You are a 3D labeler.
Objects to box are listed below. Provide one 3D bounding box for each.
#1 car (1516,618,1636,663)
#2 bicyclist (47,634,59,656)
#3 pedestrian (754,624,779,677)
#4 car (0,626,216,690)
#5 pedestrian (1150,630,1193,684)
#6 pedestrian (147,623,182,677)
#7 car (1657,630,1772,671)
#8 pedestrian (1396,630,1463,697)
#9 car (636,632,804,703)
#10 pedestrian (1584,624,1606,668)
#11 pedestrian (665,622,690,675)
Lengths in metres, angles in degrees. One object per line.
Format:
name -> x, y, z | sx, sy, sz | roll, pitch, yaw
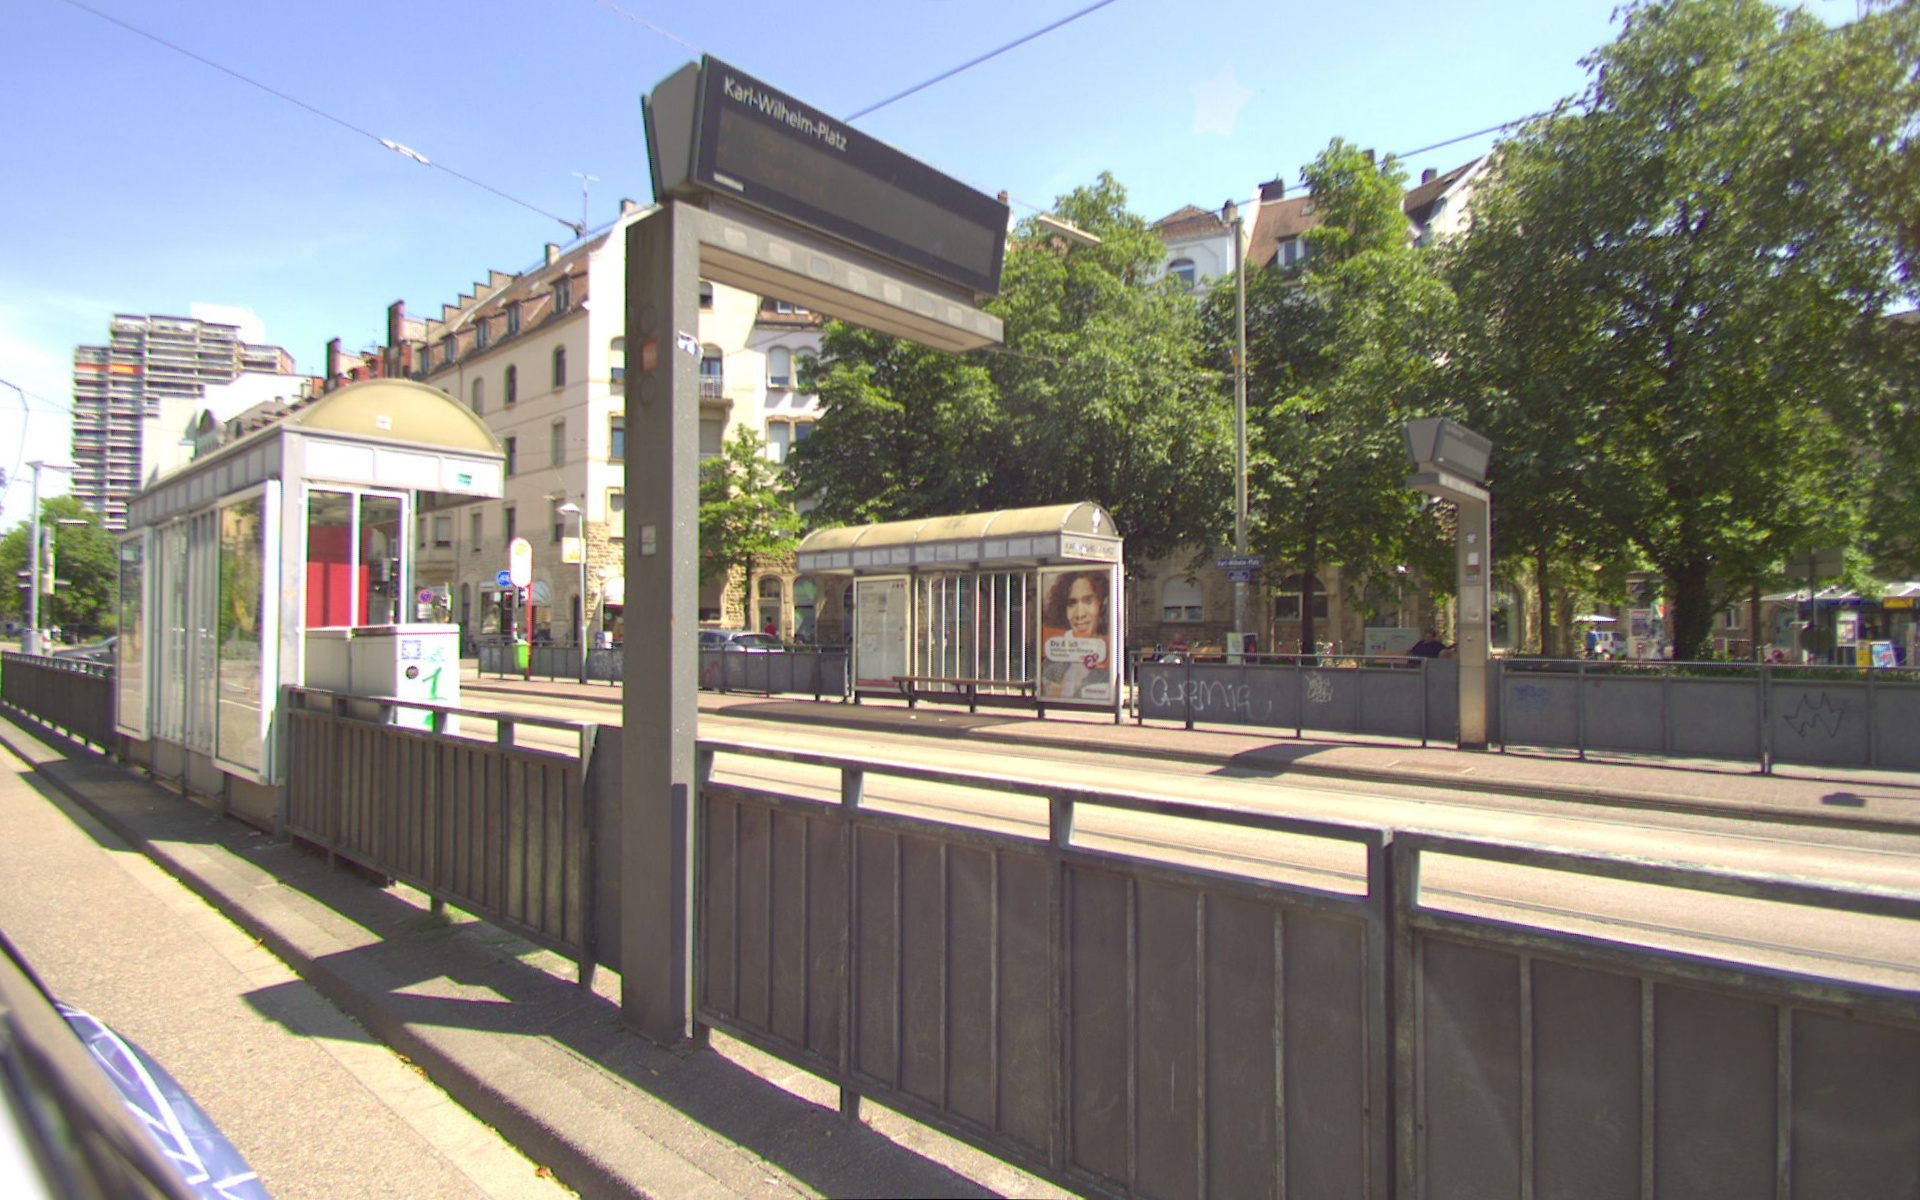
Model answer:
car -> 26.719, 1.704, 44.003 | 1.966, 1.803, 4.011 | -1, 0, -33
bicyclist -> -78.518, 3.911, 87.594 | 0.715, 1.889, 0.636 | -1, 0, 39
pedestrian -> -5.853, 1.520, 30.634 | 0.473, 1.563, 0.586 | -2, -3, 39
car -> -23.605, 1.539, 27.790 | 4.958, 1.493, 1.941 | -1, 0, -42
pedestrian -> 5.095, 1.356, 24.307 | 0.930, 1.253, 0.860 | -1, 0, 17
pedestrian -> -27.159, 1.696, 34.548 | 0.674, 1.838, 0.827 | -2, -3, 44
car -> 35.789, 2.348, 48.095 | 1.736, 1.721, 3.998 | -1, 0, -33
pedestrian -> 9.284, 1.238, 20.033 | 0.852, 1.253, 0.939 | -1, 0, -43
car -> -5.597, 1.491, 23.353 | 3.998, 1.404, 1.789 | -1, 0, 41
pedestrian -> 24.367, 1.752, 38.839 | 0.483, 1.683, 0.517 | 1, -2, -27
pedestrian -> -8.952, 1.541, 32.057 | 0.474, 1.659, 0.586 | -2, -3, 45
